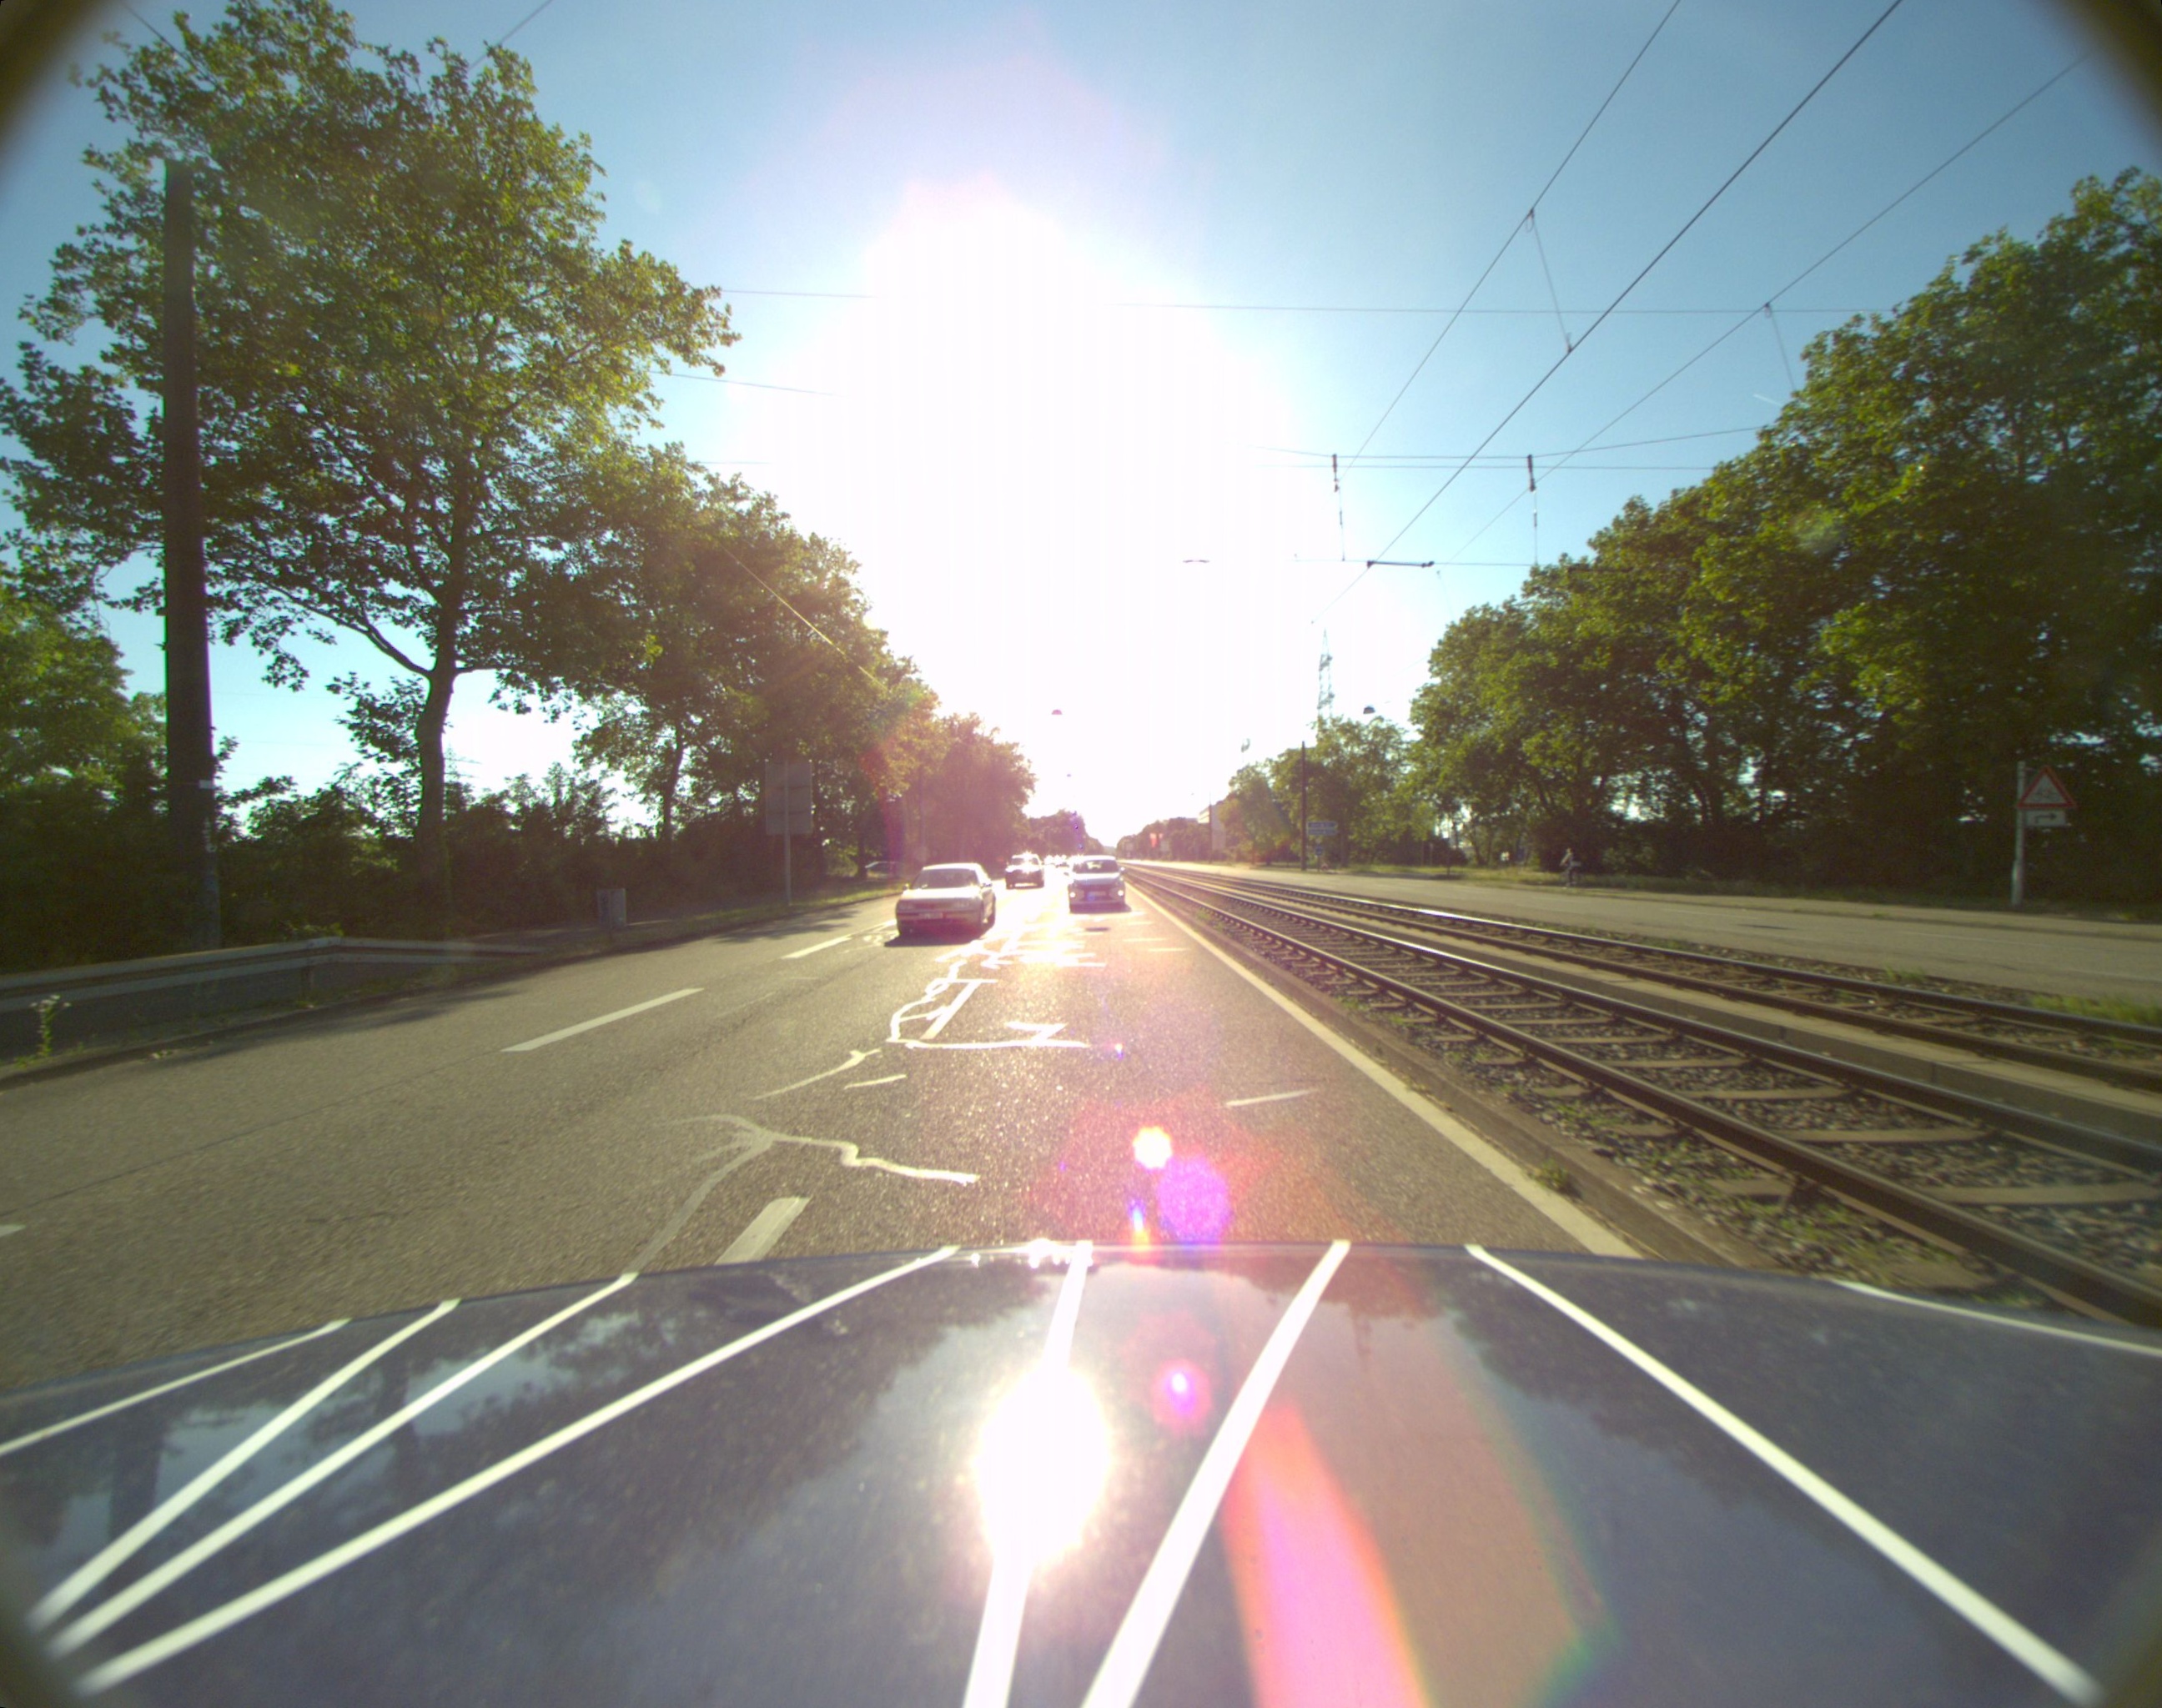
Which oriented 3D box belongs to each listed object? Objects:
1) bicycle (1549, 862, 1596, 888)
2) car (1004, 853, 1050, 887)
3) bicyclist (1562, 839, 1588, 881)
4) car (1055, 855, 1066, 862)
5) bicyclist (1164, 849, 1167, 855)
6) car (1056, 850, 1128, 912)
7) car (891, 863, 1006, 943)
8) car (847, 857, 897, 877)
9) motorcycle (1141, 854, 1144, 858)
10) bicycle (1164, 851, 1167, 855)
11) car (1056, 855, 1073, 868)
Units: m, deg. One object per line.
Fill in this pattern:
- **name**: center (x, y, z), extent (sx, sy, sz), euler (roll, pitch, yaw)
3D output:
- **bicycle**: center (20.040, 0.835, 31.024), extent (0.552, 0.980, 2.239), euler (-3, 1, 3)
- **car**: center (-2.785, 0.791, 39.859), extent (1.881, 1.591, 4.417), euler (-1, 1, 2)
- **bicyclist**: center (20.189, 0.246, 31.063), extent (0.551, 1.680, 0.820), euler (-3, 1, 5)
- **car**: center (-4.415, 0.916, 163.346), extent (1.880, 1.449, 4.417), euler (-1, 1, 4)
- **bicyclist**: center (22.217, -0.620, 200.278), extent (0.591, 1.601, 0.967), euler (0, 1, 0)
- **car**: center (0.386, 0.736, 23.133), extent (1.881, 1.591, 4.417), euler (-3, 1, 2)
- **car**: center (-2.776, 0.981, 16.796), extent (1.695, 1.437, 4.001), euler (-1, 1, 2)
- **car**: center (-17.750, 1.084, 64.679), extent (4.002, 1.655, 1.888), euler (-1, 1, -16)
- **motorcycle**: center (17.121, 0.654, 212.495), extent (0.537, 1.084, 1.902), euler (-3, 1, 1)
- **bicycle**: center (22.227, -0.309, 200.363), extent (0.591, 1.016, 2.185), euler (0, 1, 0)
- **car**: center (-2.055, 0.901, 95.627), extent (1.881, 1.449, 4.417), euler (-1, 1, 2)
